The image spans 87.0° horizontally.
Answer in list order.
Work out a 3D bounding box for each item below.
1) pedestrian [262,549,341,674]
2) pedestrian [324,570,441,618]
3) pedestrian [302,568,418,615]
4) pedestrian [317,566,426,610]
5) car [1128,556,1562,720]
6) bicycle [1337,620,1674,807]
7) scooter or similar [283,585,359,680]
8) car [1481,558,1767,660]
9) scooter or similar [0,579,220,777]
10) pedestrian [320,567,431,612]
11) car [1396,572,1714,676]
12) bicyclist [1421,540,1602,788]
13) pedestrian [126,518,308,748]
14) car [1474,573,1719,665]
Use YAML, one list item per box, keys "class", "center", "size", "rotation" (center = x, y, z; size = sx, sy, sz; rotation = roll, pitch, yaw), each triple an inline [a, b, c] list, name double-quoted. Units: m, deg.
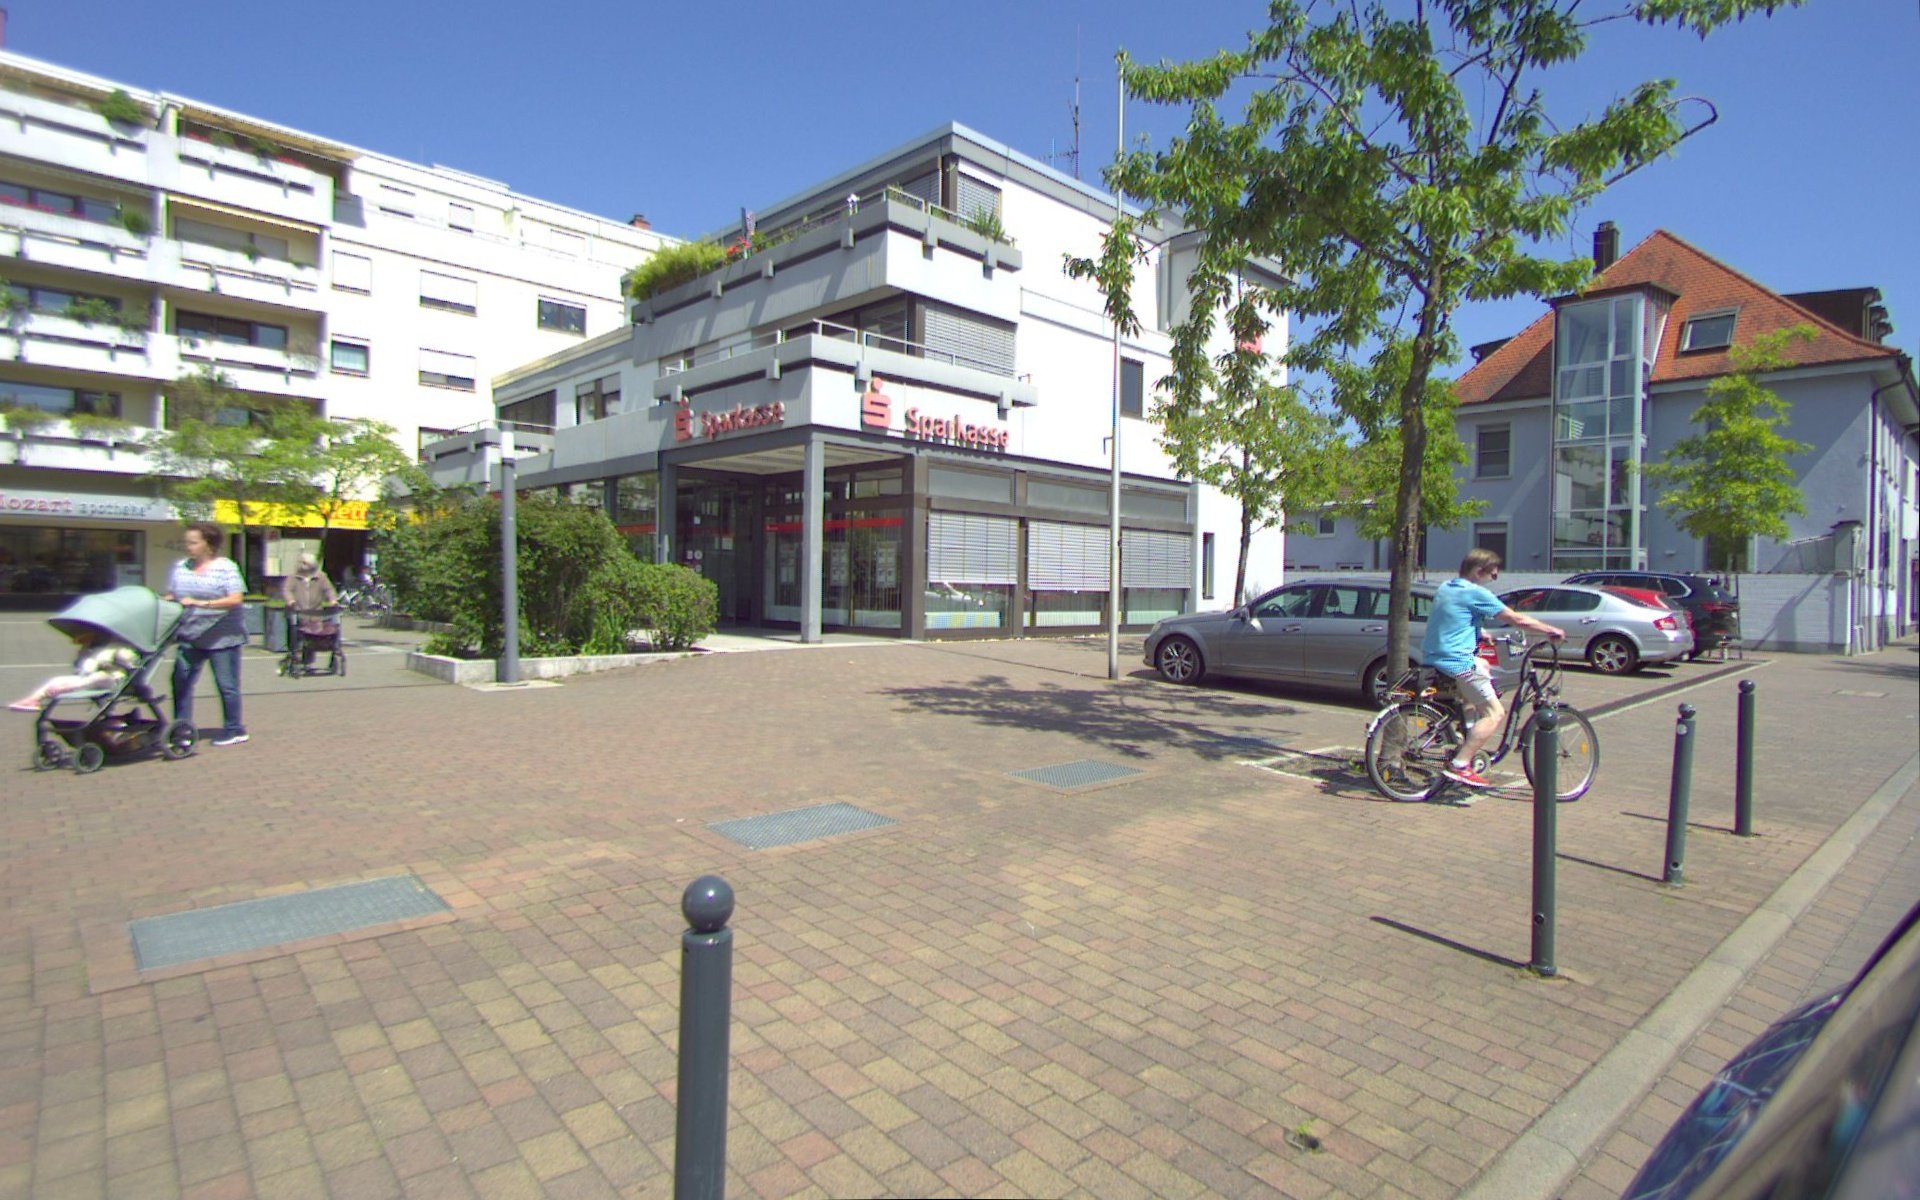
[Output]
- class: "pedestrian"
  center: [-8.285, 0.133, 12.731]
  size: [0.808, 1.516, 0.659]
  rotation: [1, 0, 43]
- class: "pedestrian"
  center: [-16.344, -0.173, 28.706]
  size: [0.983, 1.289, 2.735]
  rotation: [2, 1, 40]
- class: "pedestrian"
  center: [-17.286, -0.251, 29.216]
  size: [0.983, 1.289, 2.735]
  rotation: [2, 1, 40]
- class: "pedestrian"
  center: [-18.037, -0.370, 31.073]
  size: [0.983, 1.289, 2.735]
  rotation: [2, 1, 40]
- class: "car"
  center: [4.515, 0.299, 12.400]
  size: [4.577, 1.531, 1.887]
  rotation: [4, 4, 44]
- class: "bicycle"
  center: [3.564, 0.729, 6.690]
  size: [1.858, 1.123, 0.677]
  rotation: [1, 1, -6]
- class: "scooter or similar"
  center: [-7.701, 0.367, 12.195]
  size: [0.802, 1.088, 0.582]
  rotation: [1, 1, 43]
- class: "car"
  center: [13.856, 0.100, 21.329]
  size: [2.111, 1.793, 4.637]
  rotation: [1, 3, -43]
- class: "scooter or similar"
  center: [-5.350, 0.436, 6.344]
  size: [0.617, 1.120, 1.042]
  rotation: [1, 1, 5]
- class: "pedestrian"
  center: [-17.526, -0.311, 30.396]
  size: [0.983, 1.289, 2.735]
  rotation: [2, 1, 40]
- class: "car"
  center: [10.415, 0.325, 17.965]
  size: [4.537, 1.458, 1.811]
  rotation: [4, 3, 44]
- class: "bicyclist"
  center: [3.615, 0.394, 6.686]
  size: [0.746, 1.545, 0.672]
  rotation: [1, 1, -6]
- class: "pedestrian"
  center: [-5.282, 0.213, 7.236]
  size: [0.694, 1.540, 0.800]
  rotation: [1, 1, 7]
- class: "car"
  center: [12.291, 0.295, 19.665]
  size: [3.731, 1.470, 1.717]
  rotation: [4, 3, 44]
